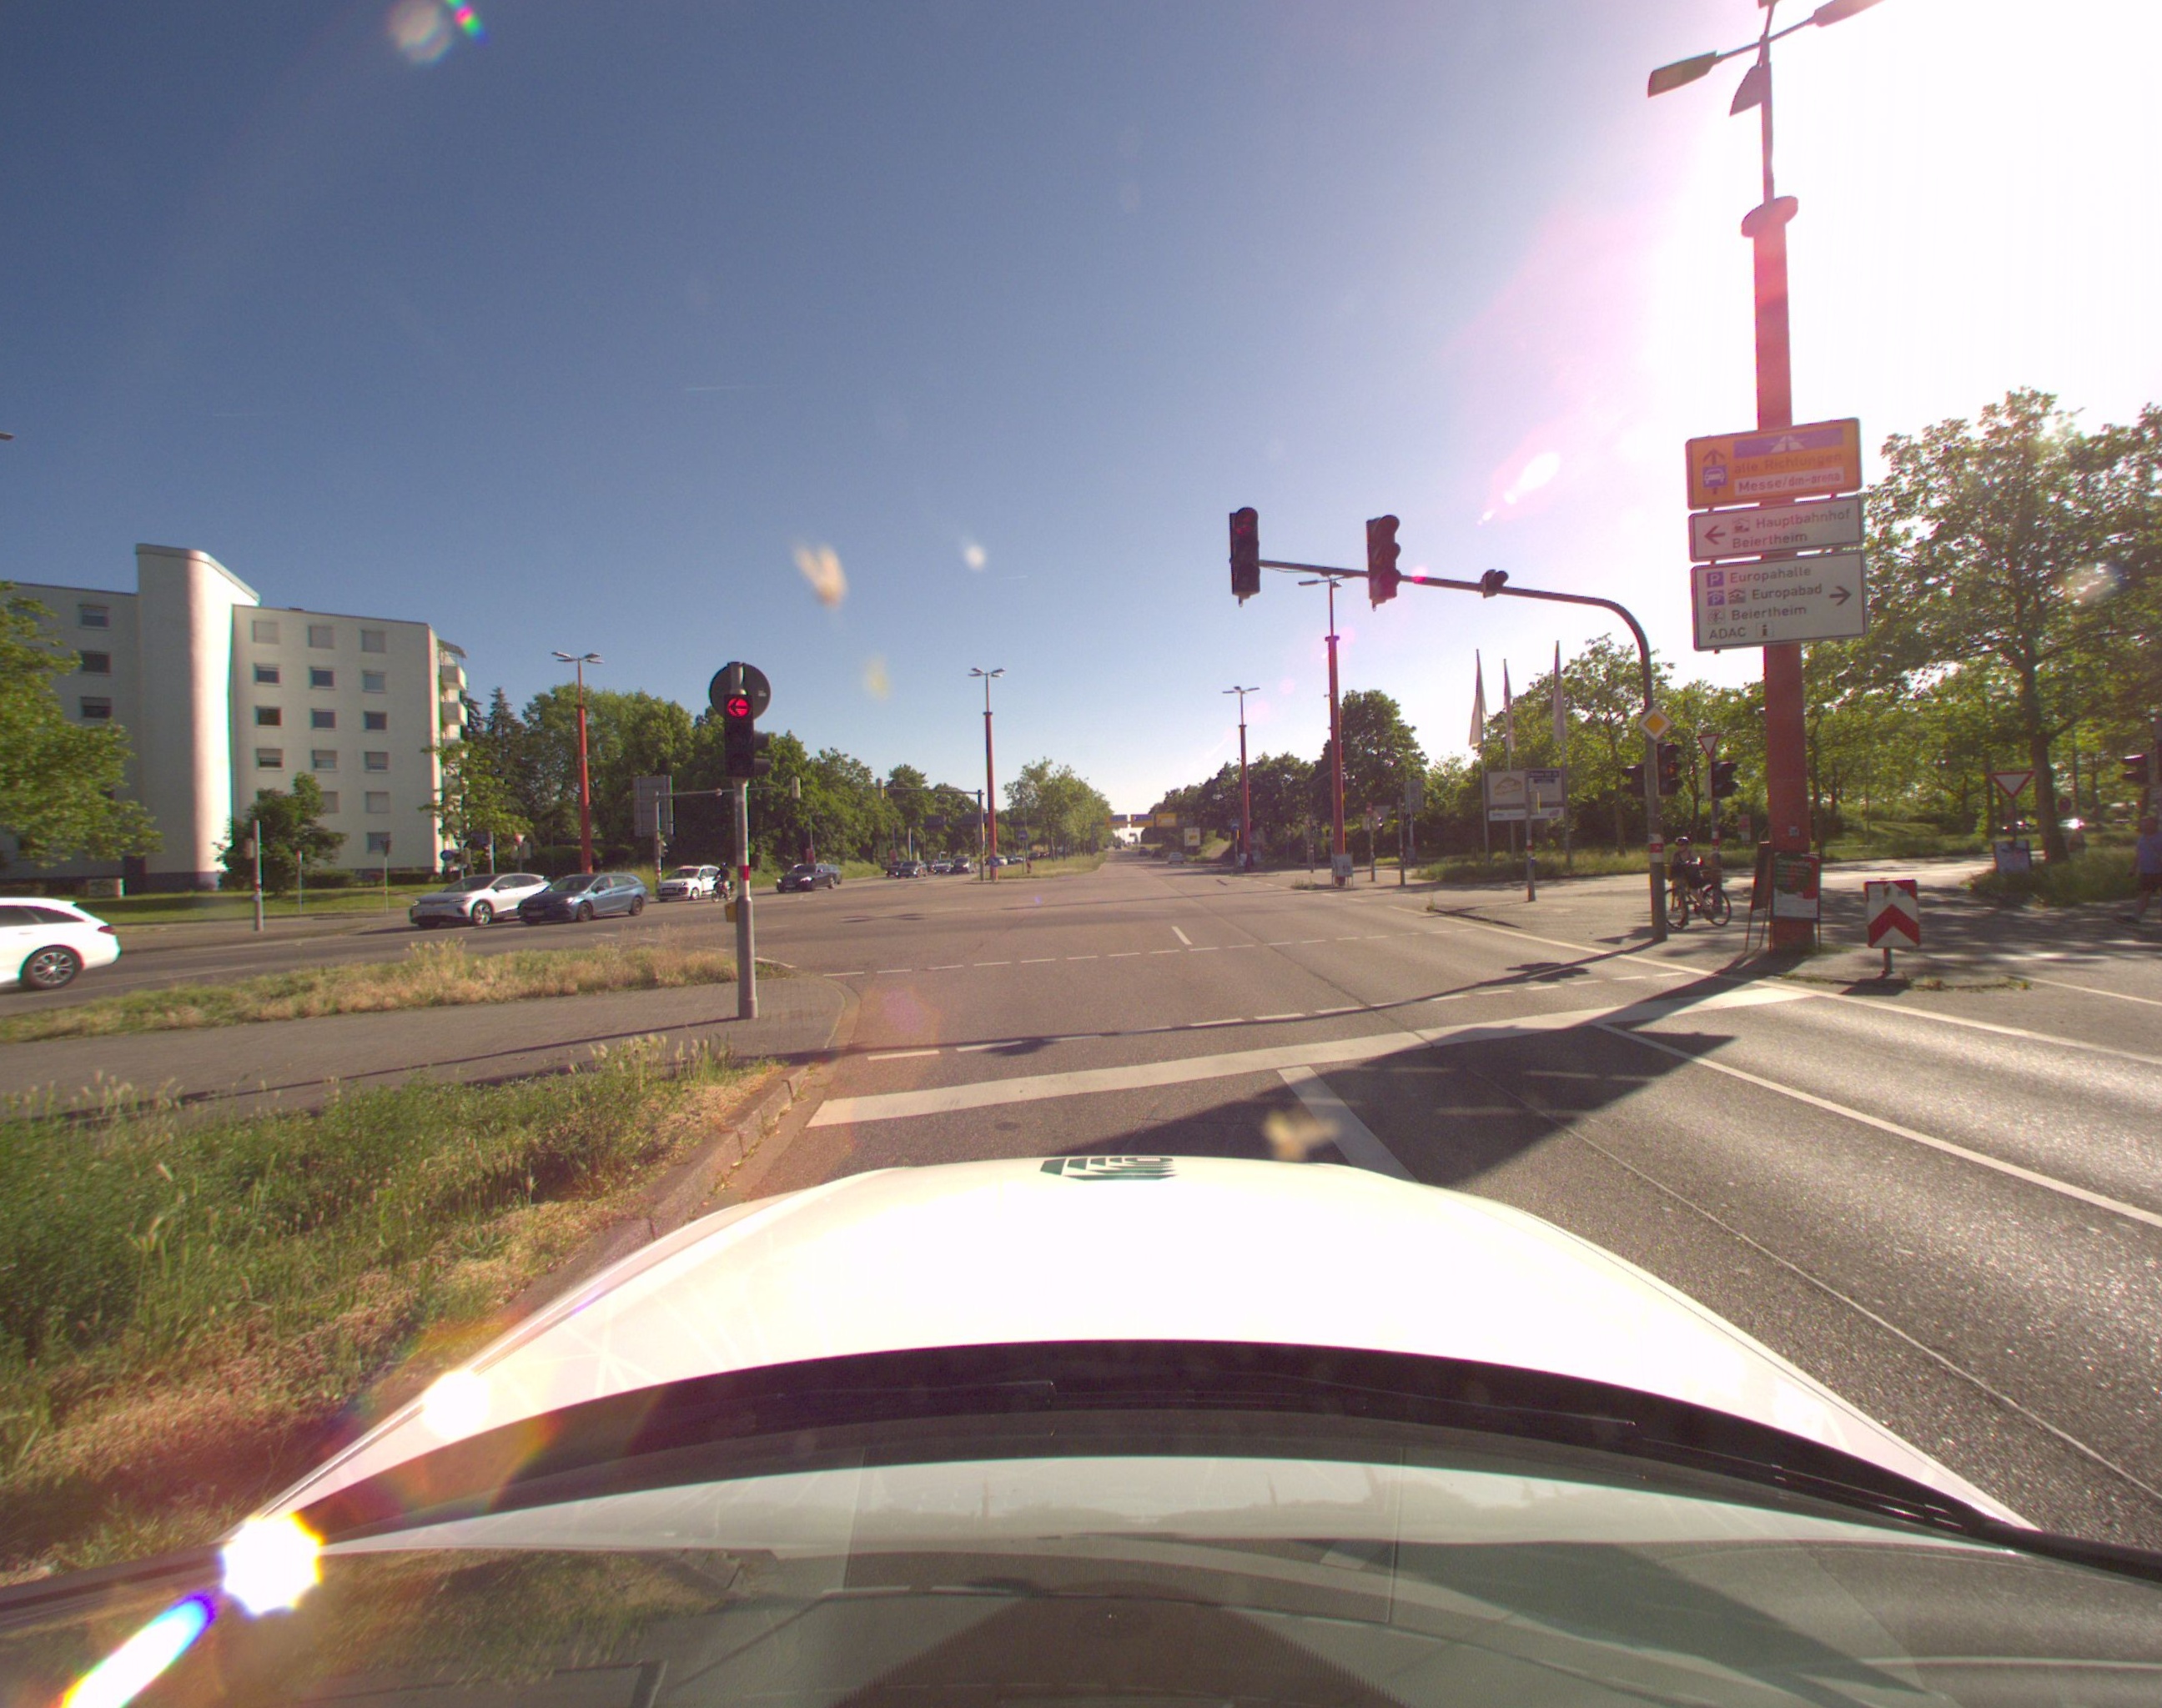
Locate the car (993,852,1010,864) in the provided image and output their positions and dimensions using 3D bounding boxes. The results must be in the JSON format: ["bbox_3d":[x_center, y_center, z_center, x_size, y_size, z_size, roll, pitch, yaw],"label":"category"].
[{"bbox_3d":[-11.461,0.597,117.509,1.697,1.596,4.004,-1,0,3],"label":"car"}]

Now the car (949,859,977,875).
[{"bbox_3d":[-10.447,1.137,72.598,1.694,1.421,4.003,1,0,3],"label":"car"}]

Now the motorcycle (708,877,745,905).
[{"bbox_3d":[-15.472,1.589,35.601,0.418,1.131,2.100,-1,0,9],"label":"motorcycle"}]

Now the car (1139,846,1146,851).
[{"bbox_3d":[19.314,-1.638,254.812,1.982,1.540,4.010,-2,0,9],"label":"car"}]

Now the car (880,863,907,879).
[{"bbox_3d":[-18.219,1.623,79.292,1.538,1.433,3.888,-3,-1,3],"label":"car"}]

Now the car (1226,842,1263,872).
[{"bbox_3d":[11.071,0.162,55.055,1.978,1.887,4.019,-2,0,18],"label":"car"}]

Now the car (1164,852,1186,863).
[{"bbox_3d":[11.860,0.416,102.861,2.050,1.371,4.386,-2,0,-3],"label":"car"}]

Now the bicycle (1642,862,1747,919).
[{"bbox_3d":[10.928,0.624,14.484,2.173,0.878,0.555,-2,0,-26],"label":"bicycle"}]

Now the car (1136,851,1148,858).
[{"bbox_3d":[13.580,0.063,181.071,1.990,1.496,3.995,-2,0,-4],"label":"car"}]

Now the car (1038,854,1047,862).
[{"bbox_3d":[-8.676,0.816,183.561,1.650,1.747,4.004,-1,0,3],"label":"car"}]

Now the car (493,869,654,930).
[{"bbox_3d":[-15.756,1.350,25.647,1.985,1.594,4.469,-2,0,4],"label":"car"}]

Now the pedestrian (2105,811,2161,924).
[{"bbox_3d":[17.294,0.207,13.139,0.897,1.788,0.891,0,1,-34],"label":"pedestrian"}]

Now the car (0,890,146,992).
[{"bbox_3d":[-16.782,1.352,11.473,1.697,1.423,4.645,-3,0,2],"label":"car"}]

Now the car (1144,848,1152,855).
[{"bbox_3d":[16.865,-0.661,205.168,1.985,1.540,4.002,-1,0,3],"label":"car"}]

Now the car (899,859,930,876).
[{"bbox_3d":[-13.881,1.105,68.058,1.542,1.377,4.264,-2,0,2],"label":"car"}]

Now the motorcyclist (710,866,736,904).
[{"bbox_3d":[-15.546,1.336,35.381,0.830,1.599,0.642,-1,-1,9],"label":"motorcyclist"}]

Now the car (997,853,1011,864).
[{"bbox_3d":[-12.137,0.711,128.877,1.697,1.558,3.806,-1,0,3],"label":"car"}]

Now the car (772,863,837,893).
[{"bbox_3d":[-14.833,1.267,43.946,1.869,1.485,4.606,-1,0,1],"label":"car"}]

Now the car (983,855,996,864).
[{"bbox_3d":[-15.078,0.854,134.208,1.622,1.450,3.436,-1,0,2],"label":"car"}]

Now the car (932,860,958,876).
[{"bbox_3d":[-13.443,1.347,80.688,1.598,1.459,3.953,-2,0,3],"label":"car"}]

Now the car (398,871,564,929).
[{"bbox_3d":[-19.258,1.411,26.449,1.830,1.601,4.443,-2,-1,4],"label":"car"}]

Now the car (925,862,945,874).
[{"bbox_3d":[-15.734,1.480,88.030,1.449,1.273,3.613,-1,0,1],"label":"car"}]

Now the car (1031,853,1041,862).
[{"bbox_3d":[-9.046,0.672,164.938,1.619,1.739,4.003,-2,0,3],"label":"car"}]

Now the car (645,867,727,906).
[{"bbox_3d":[-19.097,1.538,39.595,1.793,1.707,4.062,-2,-1,3],"label":"car"}]

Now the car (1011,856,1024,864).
[{"bbox_3d":[-10.927,1.088,140.731,1.997,1.308,3.999,-2,0,-1],"label":"car"}]

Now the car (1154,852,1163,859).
[{"bbox_3d":[14.971,0.263,157.454,1.731,1.341,3.083,-2,0,2],"label":"car"}]

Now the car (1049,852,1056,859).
[{"bbox_3d":[-7.075,0.357,202.776,1.601,1.730,3.792,-1,0,3],"label":"car"}]

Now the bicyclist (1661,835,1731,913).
[{"bbox_3d":[11.005,0.353,14.573,0.743,1.341,0.702,-2,0,-25],"label":"bicyclist"}]
